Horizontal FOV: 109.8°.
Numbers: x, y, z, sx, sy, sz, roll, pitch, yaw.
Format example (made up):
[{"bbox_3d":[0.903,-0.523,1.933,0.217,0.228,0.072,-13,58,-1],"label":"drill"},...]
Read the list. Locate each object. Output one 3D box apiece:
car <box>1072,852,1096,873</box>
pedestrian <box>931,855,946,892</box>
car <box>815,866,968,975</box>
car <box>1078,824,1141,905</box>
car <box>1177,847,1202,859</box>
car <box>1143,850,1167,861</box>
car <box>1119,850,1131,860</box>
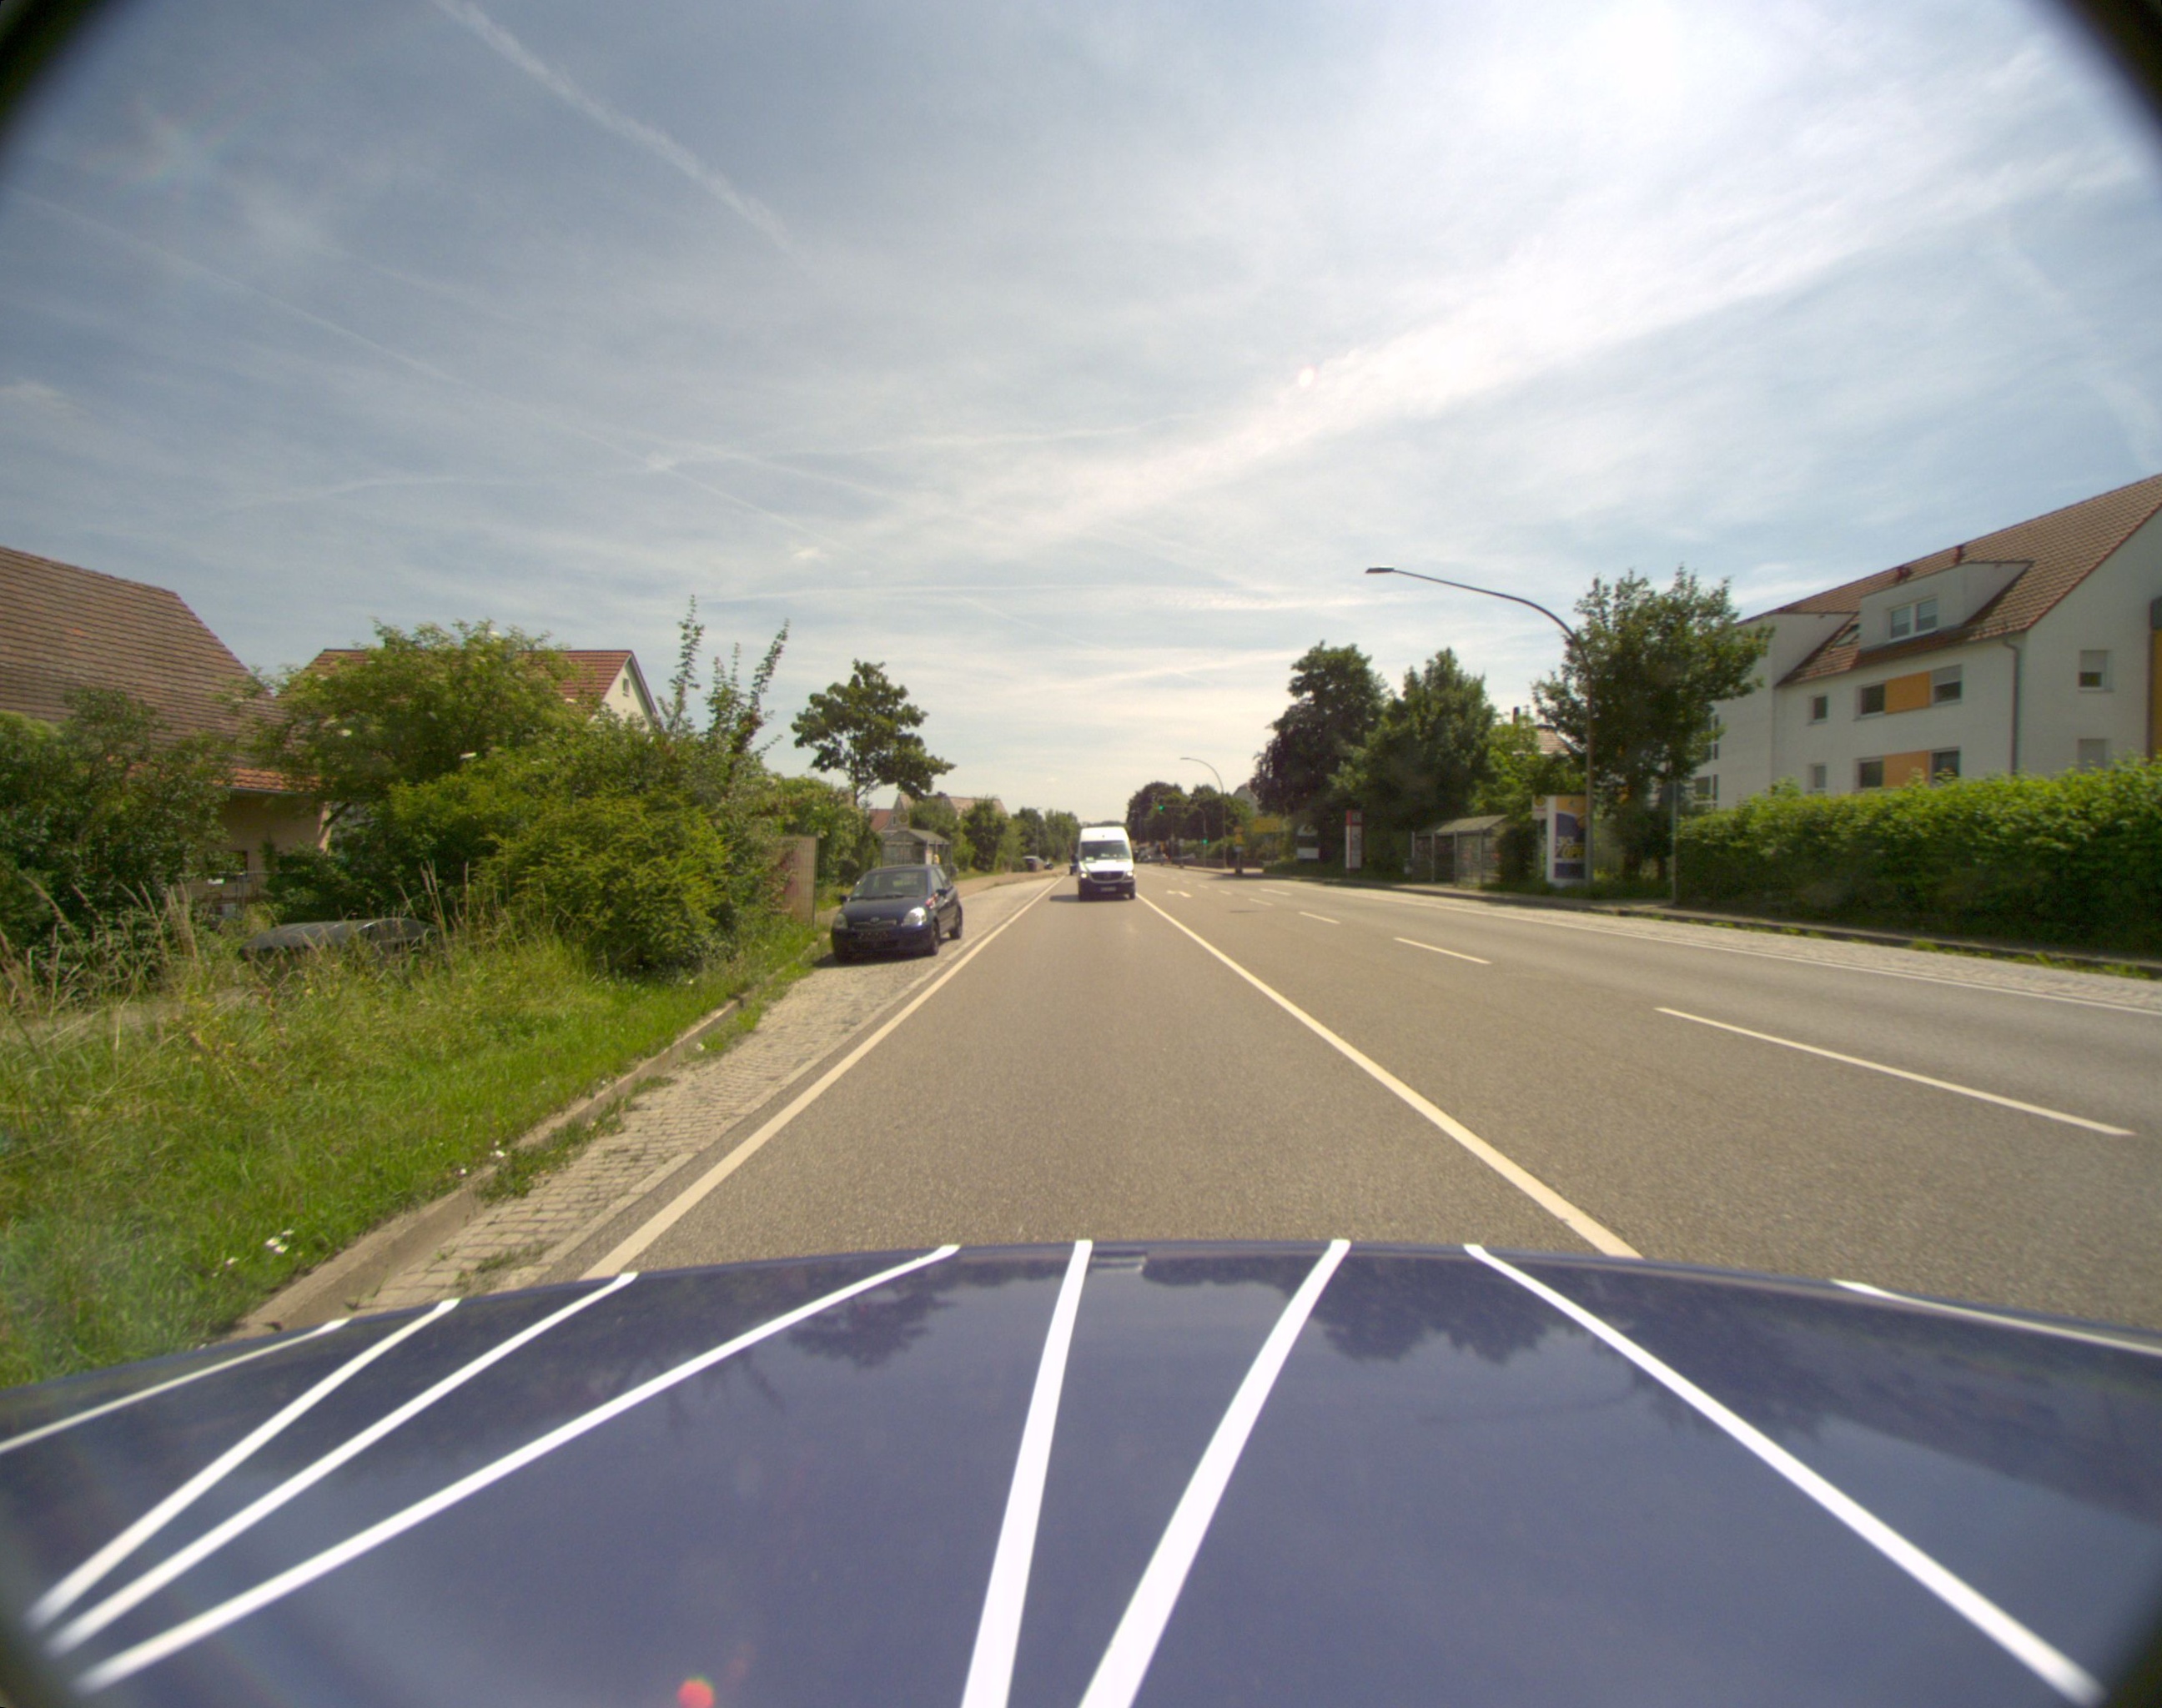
[{"bbox_3d":[0.321,0.676,64.794,1.884,1.652,4.626,-2,0,1],"label":"car"},{"bbox_3d":[-6.057,0.804,32.306,0.522,1.540,0.562,-2,2,-17],"label":"pedestrian"},{"bbox_3d":[-3.160,1.046,13.402,1.635,1.476,3.552,-4,0,1],"label":"car"},{"bbox_3d":[0.988,0.317,27.092,1.939,2.514,5.749,-1,0,1],"label":"car"},{"bbox_3d":[19.006,-0.174,133.681,3.998,1.760,1.999,-2,1,-2],"label":"car"},{"bbox_3d":[12.973,0.217,133.275,3.998,1.744,1.999,-2,1,-4],"label":"car"},{"bbox_3d":[8.357,0.162,144.637,1.998,1.729,3.999,-2,1,0],"label":"car"}]
